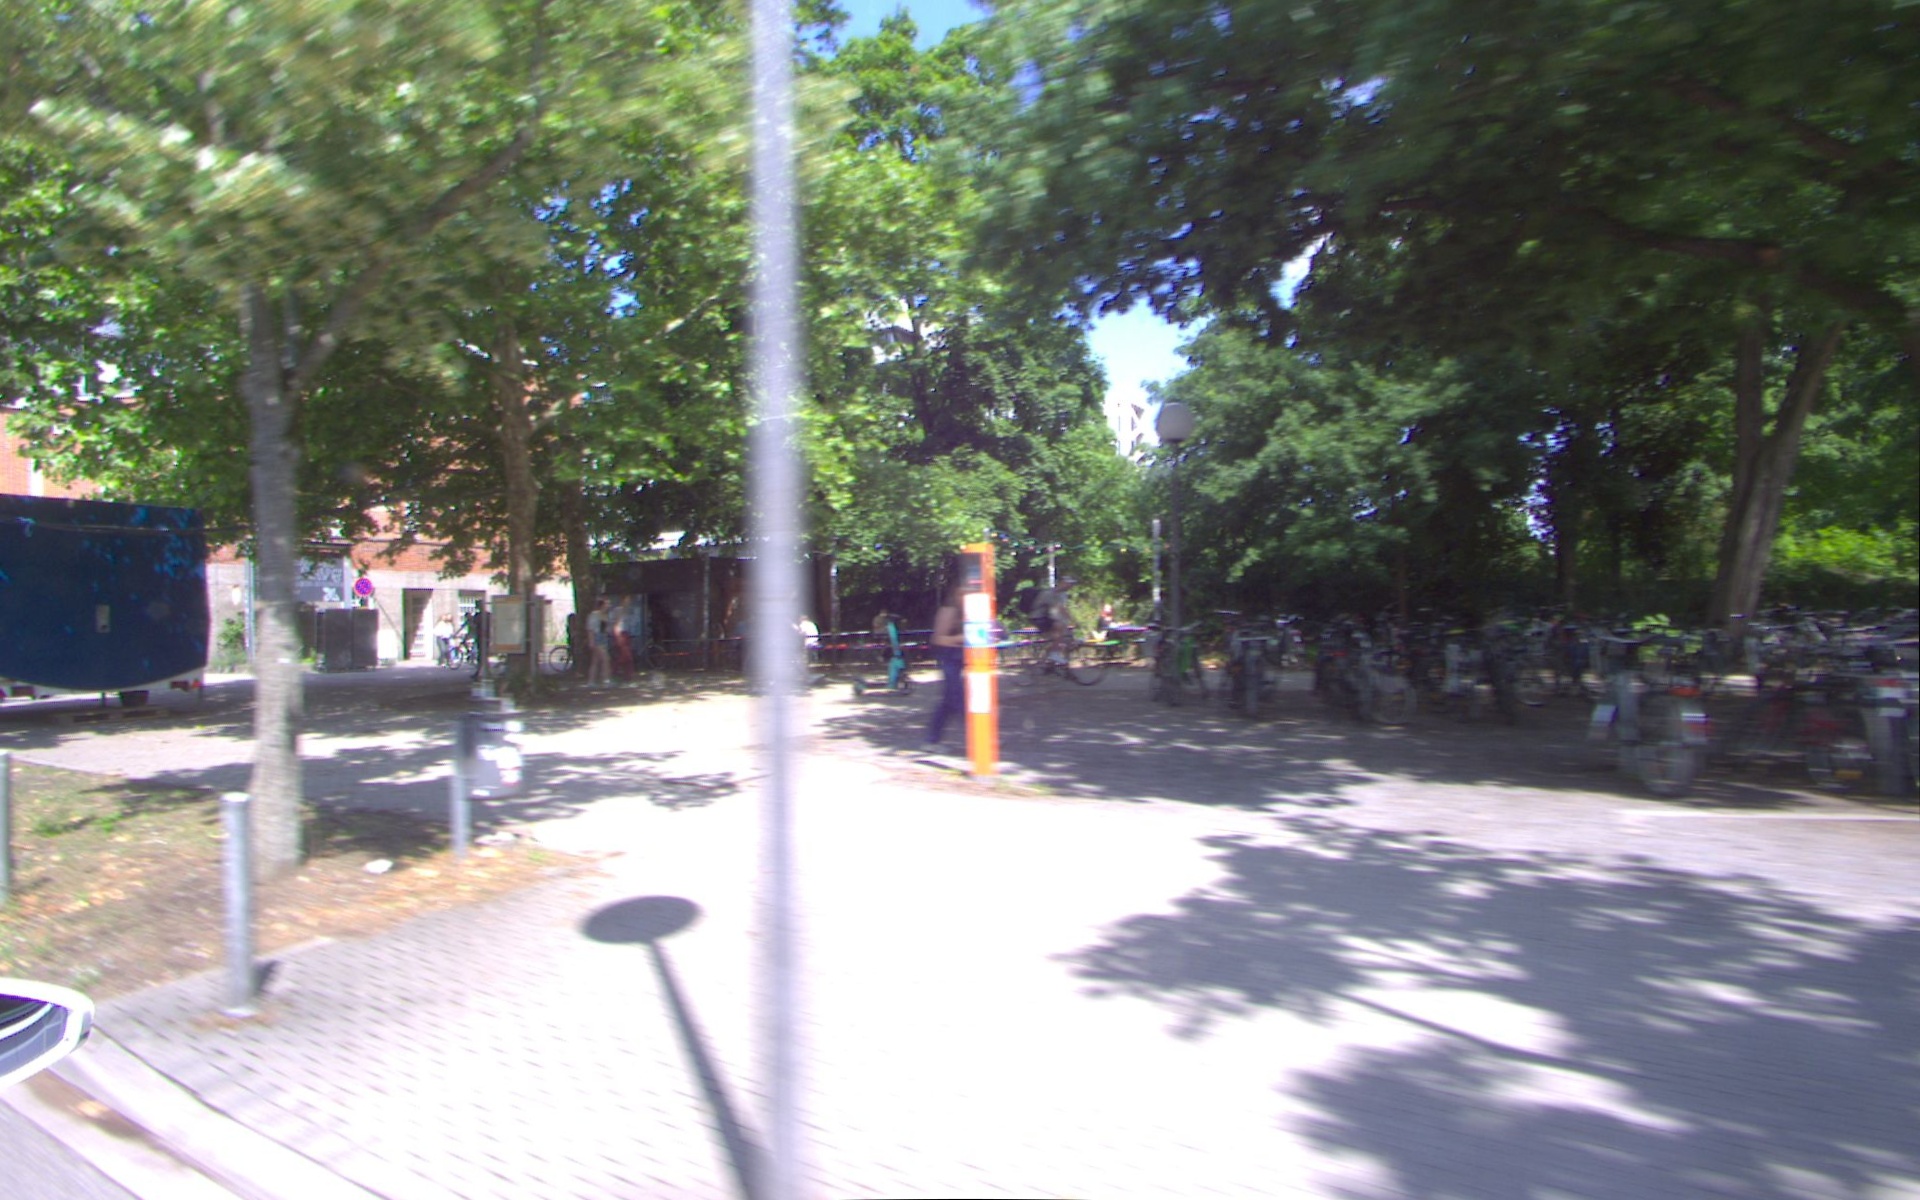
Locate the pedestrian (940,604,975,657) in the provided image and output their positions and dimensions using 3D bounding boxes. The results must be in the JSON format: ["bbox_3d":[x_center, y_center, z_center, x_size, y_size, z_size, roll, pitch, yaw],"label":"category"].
[{"bbox_3d":[-0.062,0.768,25.460,0.612,1.289,0.665,0,3,28],"label":"pedestrian"}]

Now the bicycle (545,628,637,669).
[{"bbox_3d":[-10.603,1.384,28.817,0.775,1.085,2.382,-2,-1,45],"label":"bicycle"}]

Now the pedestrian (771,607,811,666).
[{"bbox_3d":[-4.067,0.857,24.064,0.718,1.365,0.568,0,3,28],"label":"pedestrian"}]

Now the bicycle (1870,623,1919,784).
[{"bbox_3d":[6.696,0.718,6.545,0.397,1.096,1.946,0,0,20],"label":"bicycle"}]

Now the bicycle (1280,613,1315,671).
[{"bbox_3d":[6.660,0.799,19.802,0.427,1.053,1.958,-1,0,13],"label":"bicycle"}]

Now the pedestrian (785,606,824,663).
[{"bbox_3d":[-3.804,0.833,24.579,0.718,1.365,0.568,0,3,28],"label":"pedestrian"}]

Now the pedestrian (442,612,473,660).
[{"bbox_3d":[-17.343,1.225,34.549,0.669,1.628,0.657,-1,0,17],"label":"pedestrian"}]

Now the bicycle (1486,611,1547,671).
[{"bbox_3d":[10.452,0.746,18.851,0.469,1.053,1.752,-1,0,11],"label":"bicycle"}]

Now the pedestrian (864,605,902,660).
[{"bbox_3d":[-1.958,0.817,25.466,0.708,1.365,0.665,0,3,28],"label":"pedestrian"}]

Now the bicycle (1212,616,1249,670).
[{"bbox_3d":[5.344,0.828,19.839,0.601,0.992,1.958,-1,0,13],"label":"bicycle"}]

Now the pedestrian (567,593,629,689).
[{"bbox_3d":[-6.564,0.727,18.150,0.777,1.683,0.696,-1,1,32],"label":"pedestrian"}]

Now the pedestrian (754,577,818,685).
[{"bbox_3d":[-3.107,0.551,17.915,0.812,1.879,0.763,-1,1,32],"label":"pedestrian"}]

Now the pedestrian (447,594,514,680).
[{"bbox_3d":[-10.351,0.777,21.636,0.904,1.799,0.958,0,1,24],"label":"pedestrian"}]

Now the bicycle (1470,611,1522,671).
[{"bbox_3d":[10.105,0.752,18.917,0.341,1.053,1.752,-1,0,11],"label":"bicycle"}]

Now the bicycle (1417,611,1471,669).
[{"bbox_3d":[9.344,0.751,19.384,0.469,1.053,1.831,-1,0,11],"label":"bicycle"}]

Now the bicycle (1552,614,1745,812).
[{"bbox_3d":[4.800,0.700,7.129,0.640,1.182,2.016,0,0,20],"label":"bicycle"}]

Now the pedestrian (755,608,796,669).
[{"bbox_3d":[-4.330,0.893,23.549,0.718,1.365,0.568,0,3,28],"label":"pedestrian"}]

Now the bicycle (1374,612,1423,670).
[{"bbox_3d":[8.478,0.773,19.394,0.469,1.053,1.783,-1,0,11],"label":"bicycle"}]

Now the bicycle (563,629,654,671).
[{"bbox_3d":[-9.884,1.387,28.268,0.773,1.085,2.386,-1,-1,39],"label":"bicycle"}]

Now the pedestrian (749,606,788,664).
[{"bbox_3d":[-4.719,0.852,24.645,0.718,1.365,0.568,0,3,28],"label":"pedestrian"}]

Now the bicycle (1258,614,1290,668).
[{"bbox_3d":[6.265,0.801,20.006,0.430,0.992,1.958,-1,0,13],"label":"bicycle"}]

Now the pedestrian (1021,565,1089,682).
[{"bbox_3d":[1.657,0.399,17.393,1.058,1.975,0.834,-1,2,12],"label":"pedestrian"}]

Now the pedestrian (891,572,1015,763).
[{"bbox_3d":[-0.059,0.562,8.804,0.914,1.592,0.567,0,1,33],"label":"pedestrian"}]

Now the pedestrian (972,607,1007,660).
[{"bbox_3d":[0.743,0.823,25.164,0.612,1.289,0.665,0,3,28],"label":"pedestrian"}]

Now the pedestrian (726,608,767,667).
[{"bbox_3d":[-5.097,0.886,23.927,0.718,1.365,0.568,0,3,28],"label":"pedestrian"}]

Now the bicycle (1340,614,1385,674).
[{"bbox_3d":[7.589,0.809,18.939,0.426,1.053,1.783,-1,0,11],"label":"bicycle"}]

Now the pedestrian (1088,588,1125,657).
[{"bbox_3d":[3.548,0.534,24.215,0.707,1.604,0.665,0,3,28],"label":"pedestrian"}]

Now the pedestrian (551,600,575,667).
[{"bbox_3d":[-11.469,0.973,28.922,0.523,1.907,0.445,0,0,42],"label":"pedestrian"}]

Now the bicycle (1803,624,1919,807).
[{"bbox_3d":[6.285,0.721,6.654,0.397,1.096,1.946,0,0,20],"label":"bicycle"}]

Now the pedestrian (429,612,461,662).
[{"bbox_3d":[-17.238,1.230,33.545,0.669,1.628,0.657,-1,0,17],"label":"pedestrian"}]

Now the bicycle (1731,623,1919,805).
[{"bbox_3d":[6.043,0.722,7.073,0.431,1.096,1.769,0,0,20],"label":"bicycle"}]

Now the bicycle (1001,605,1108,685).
[{"bbox_3d":[1.565,0.741,16.511,1.705,1.269,0.531,-1,2,12],"label":"bicycle"}]

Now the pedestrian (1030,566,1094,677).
[{"bbox_3d":[1.879,0.381,18.340,1.058,1.975,0.834,-1,2,12],"label":"pedestrian"}]

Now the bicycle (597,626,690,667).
[{"bbox_3d":[-8.784,1.291,27.881,0.775,1.085,2.383,-2,-3,44],"label":"bicycle"}]

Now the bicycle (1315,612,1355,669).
[{"bbox_3d":[7.386,0.775,19.780,0.470,1.053,1.958,-1,0,13],"label":"bicycle"}]

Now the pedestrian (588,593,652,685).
[{"bbox_3d":[-6.355,0.717,18.711,0.812,1.683,0.763,-1,0,32],"label":"pedestrian"}]
